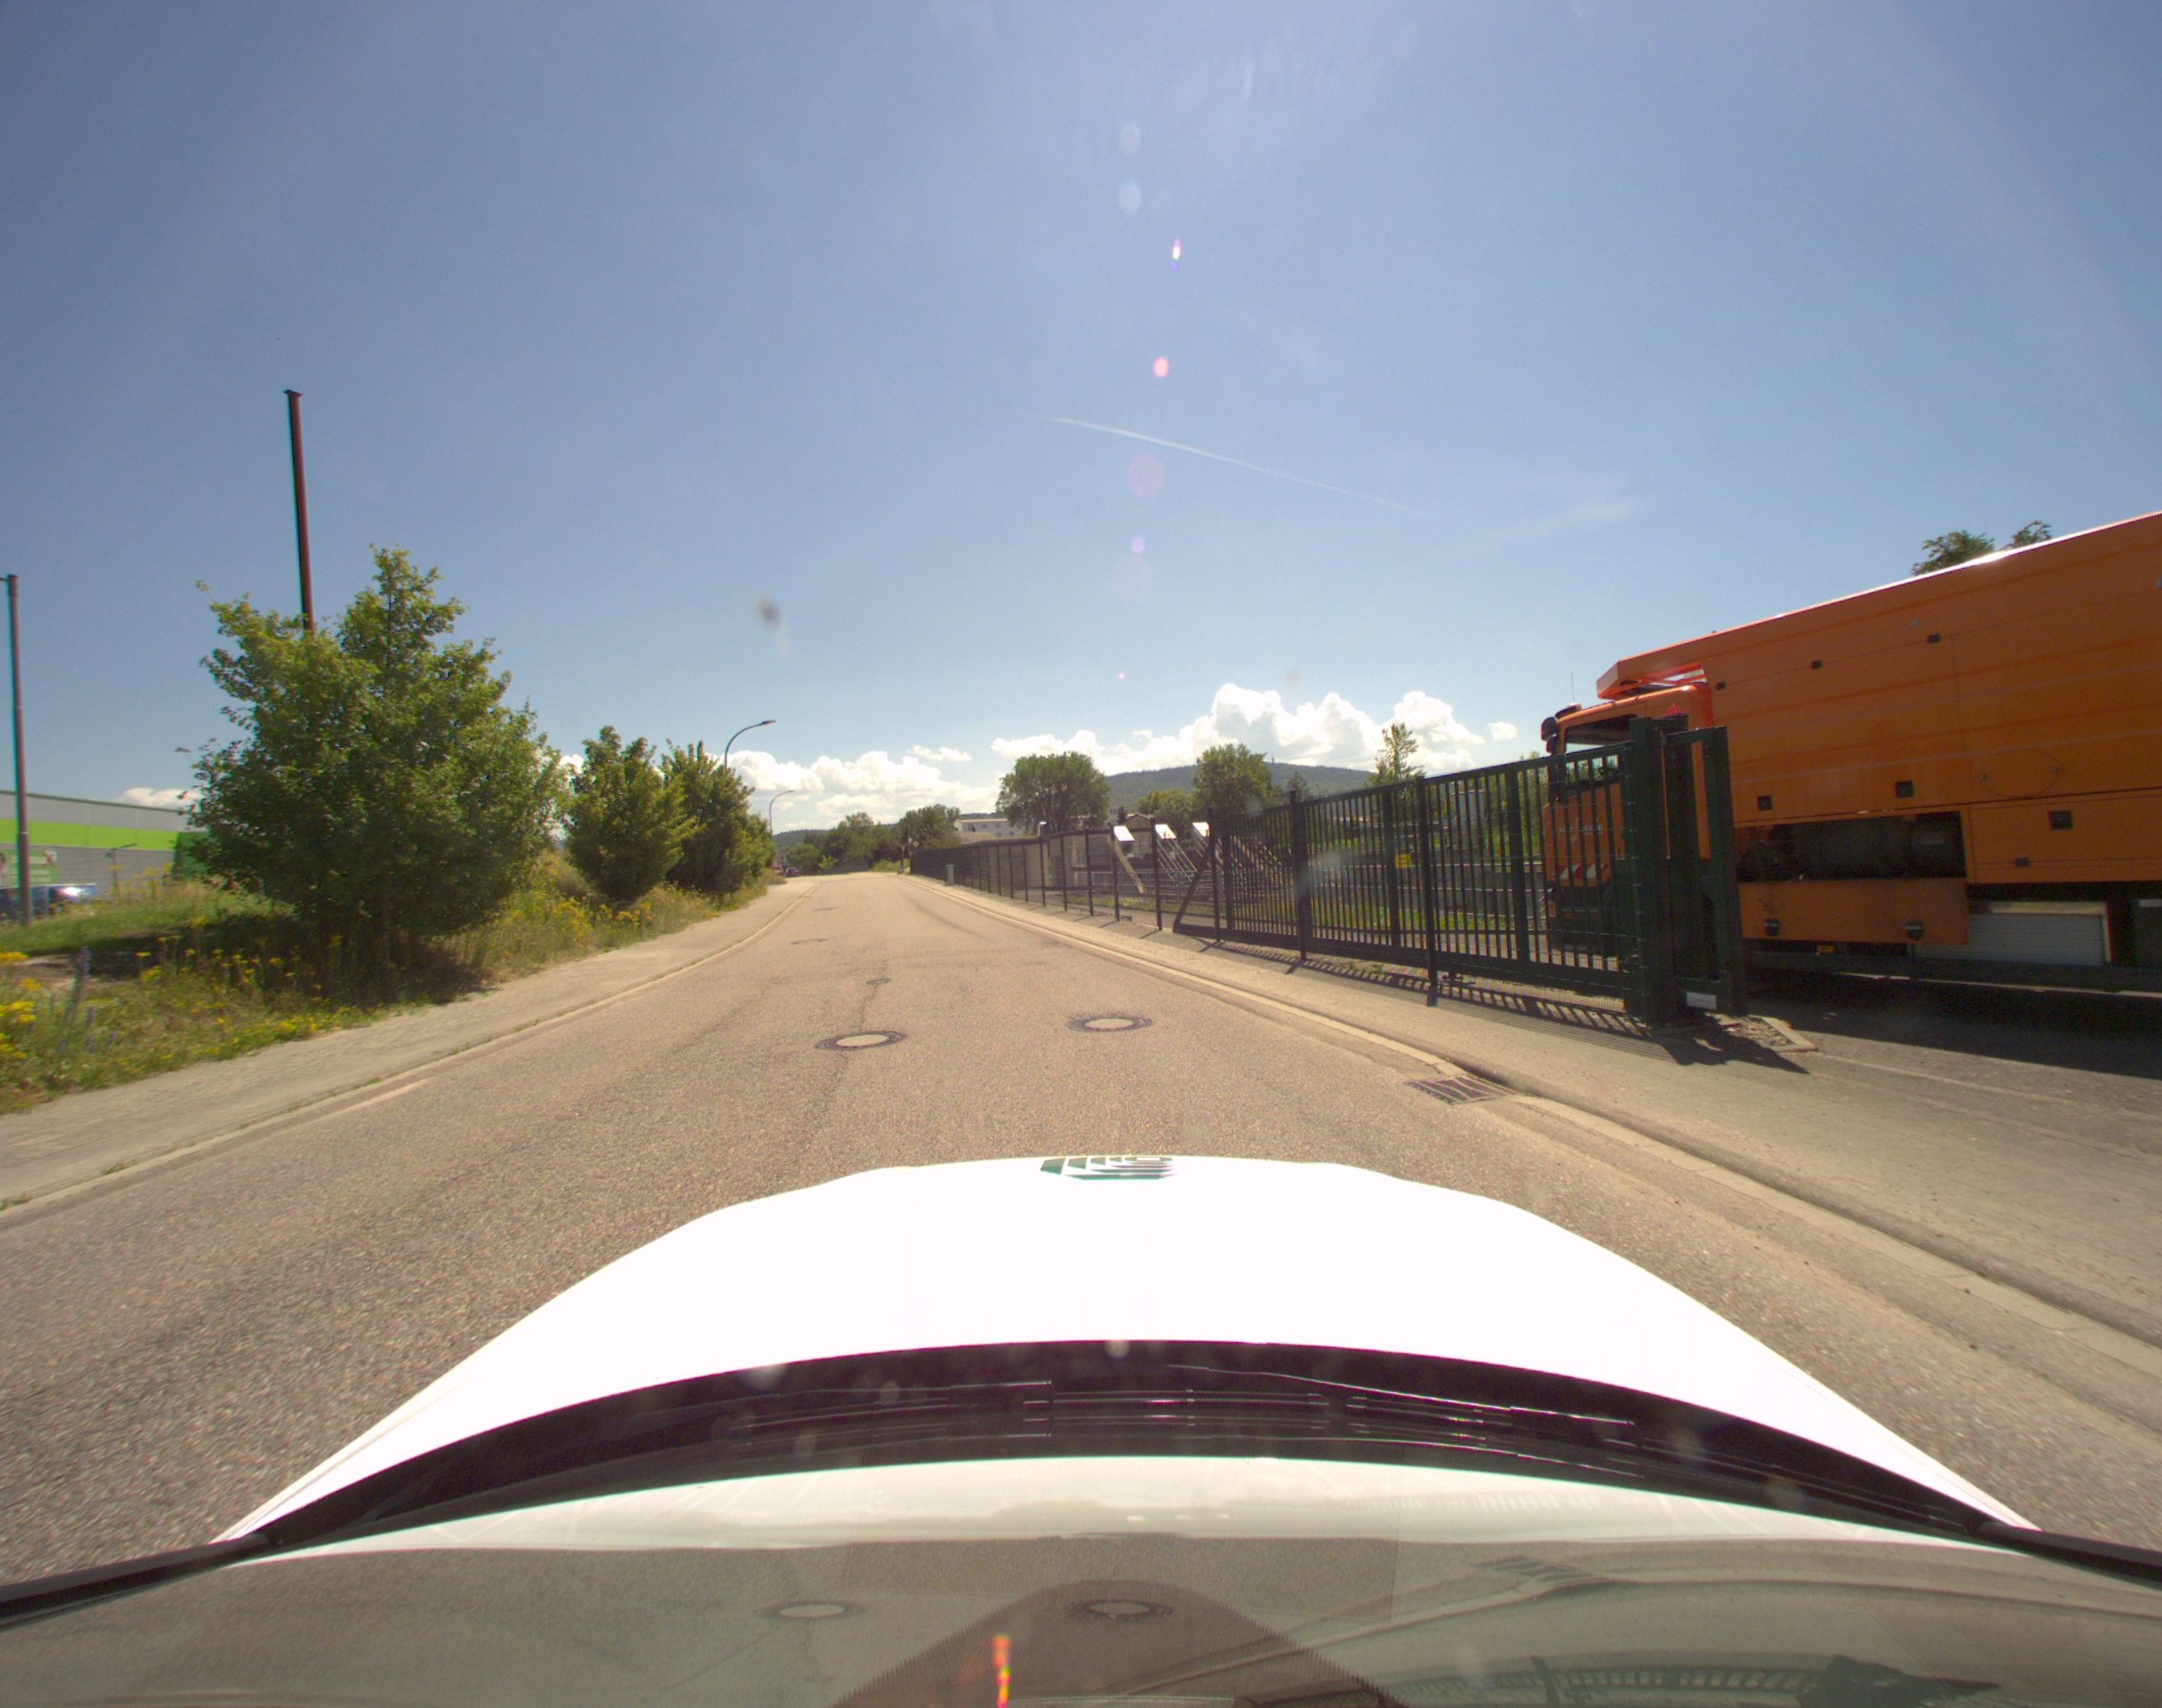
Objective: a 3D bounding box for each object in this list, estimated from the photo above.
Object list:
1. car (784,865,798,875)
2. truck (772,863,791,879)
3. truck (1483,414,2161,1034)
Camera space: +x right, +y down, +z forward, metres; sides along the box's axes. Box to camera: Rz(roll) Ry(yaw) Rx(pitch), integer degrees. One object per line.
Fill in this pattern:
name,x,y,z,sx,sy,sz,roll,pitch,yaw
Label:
car,-43.997,2.371,123.717,1.783,1.448,3.426,-3,0,-22
truck,-57.500,3.211,156.316,2.697,2.772,6.036,-2,0,-27
truck,8.358,-0.875,6.336,4.170,3.806,8.543,-3,-1,-24
